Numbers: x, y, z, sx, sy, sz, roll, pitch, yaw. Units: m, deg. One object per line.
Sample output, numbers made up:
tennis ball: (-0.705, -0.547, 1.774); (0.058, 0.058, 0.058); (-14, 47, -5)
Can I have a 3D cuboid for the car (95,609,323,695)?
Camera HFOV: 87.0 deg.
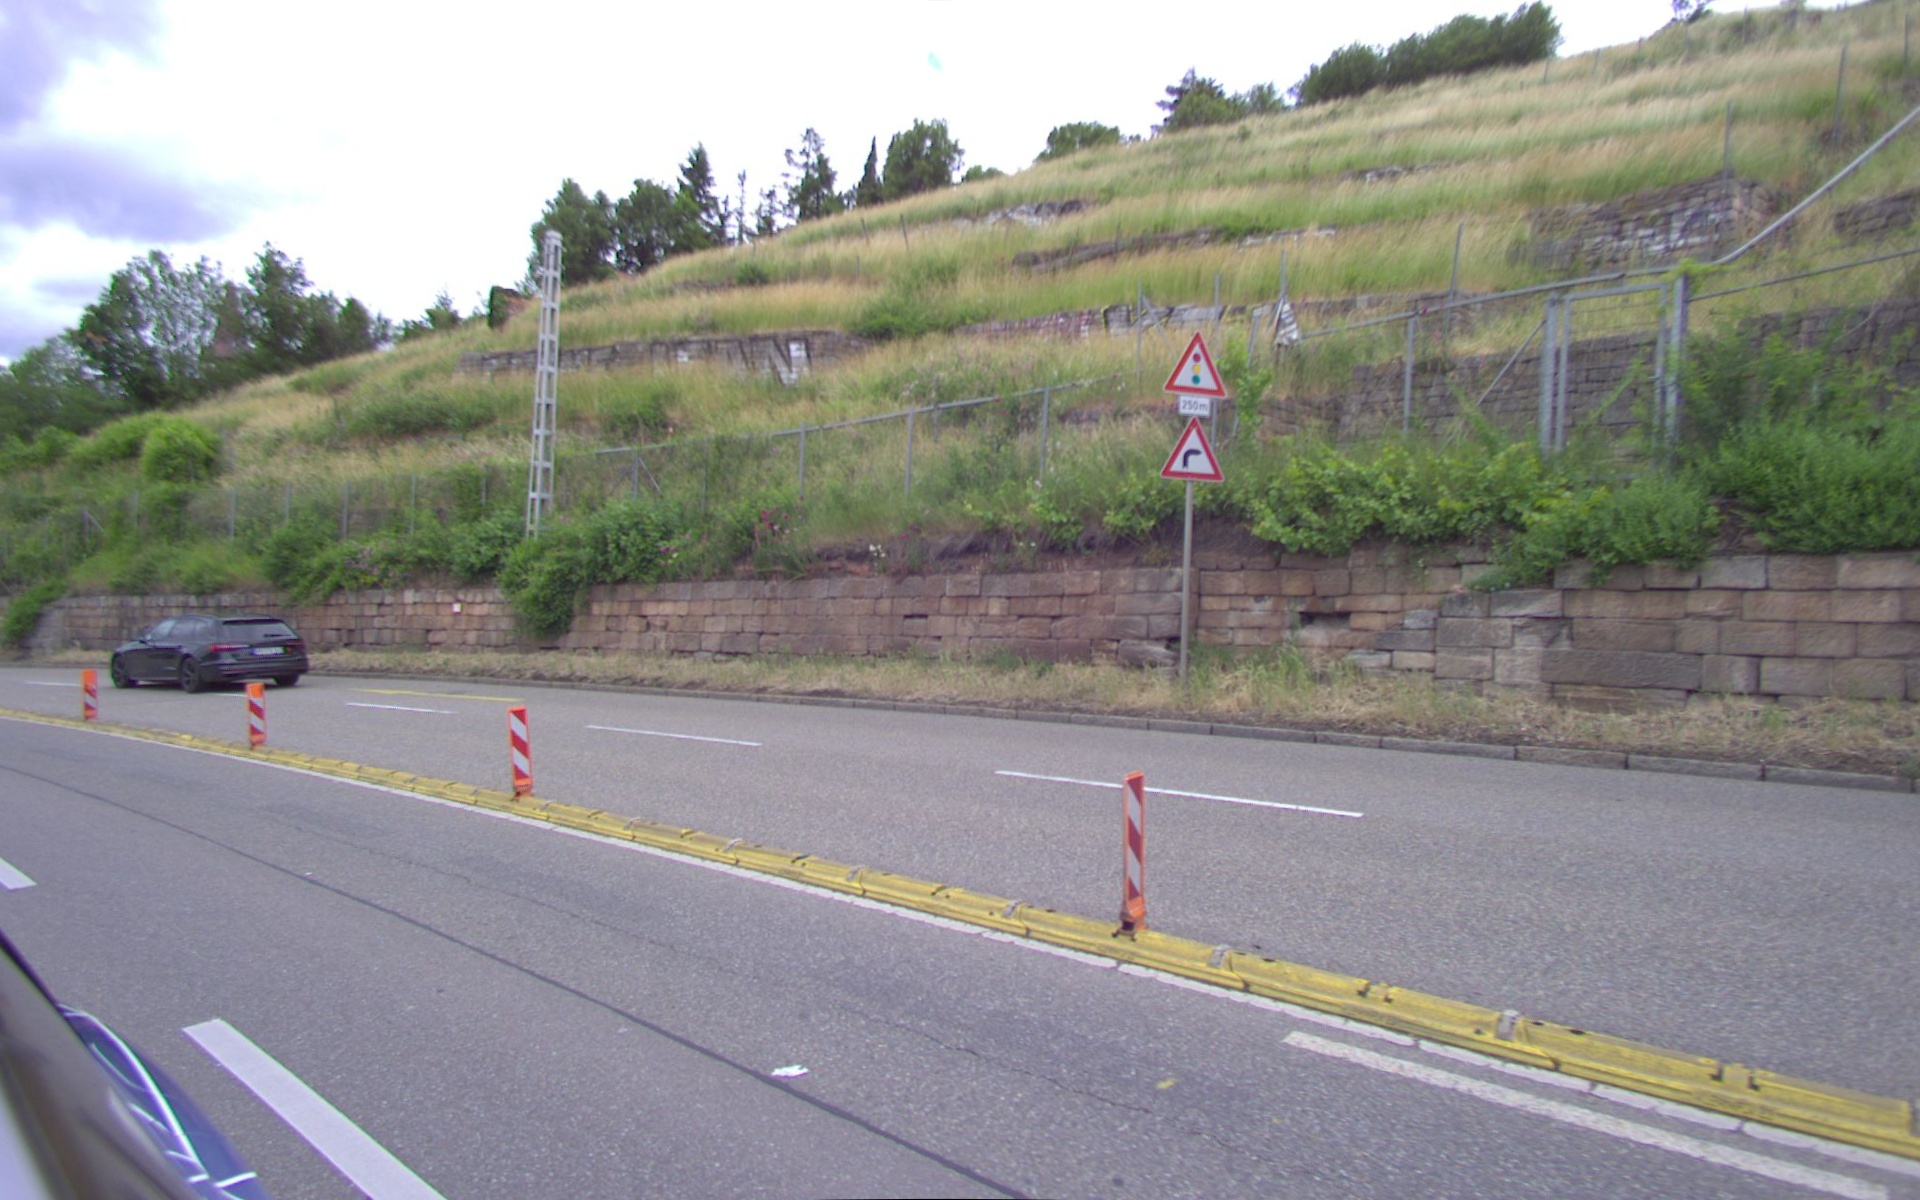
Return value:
car: (-14.444, 0.914, 19.424); (4.395, 1.424, 1.839); (0, 1, 29)
